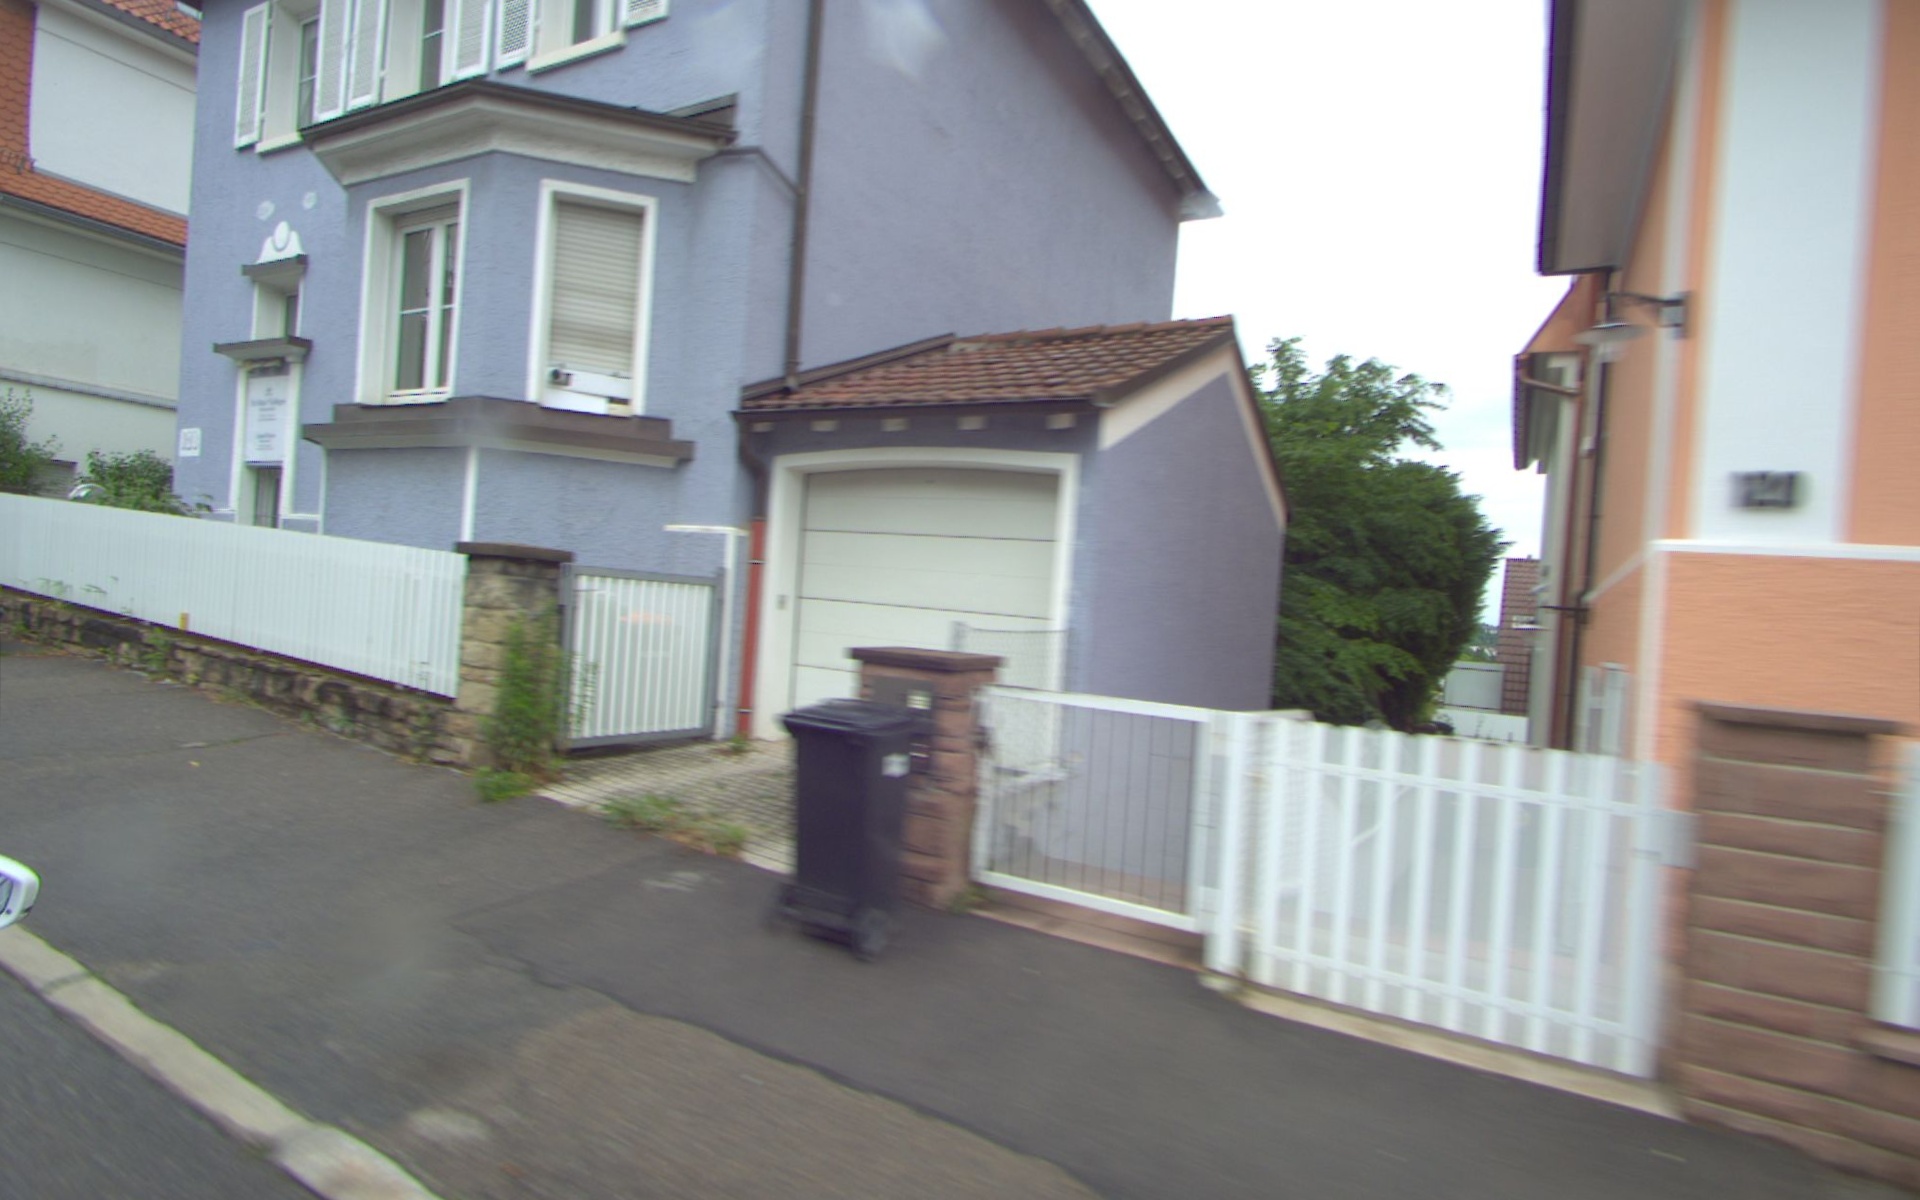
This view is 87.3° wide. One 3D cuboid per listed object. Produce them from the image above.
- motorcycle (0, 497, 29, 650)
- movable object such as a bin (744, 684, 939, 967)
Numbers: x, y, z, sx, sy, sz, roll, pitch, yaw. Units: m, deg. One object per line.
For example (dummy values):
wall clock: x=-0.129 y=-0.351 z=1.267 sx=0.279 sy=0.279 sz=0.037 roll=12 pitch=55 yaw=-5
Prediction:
motorcycle: x=-8.822 y=-0.293 z=8.655 sx=2.119 sy=1.244 sz=0.691 roll=6 pitch=7 yaw=34
movable object such as a bin: x=-0.454 y=0.838 z=3.943 sx=0.479 sy=0.931 sz=0.532 roll=6 pitch=4 yaw=28
